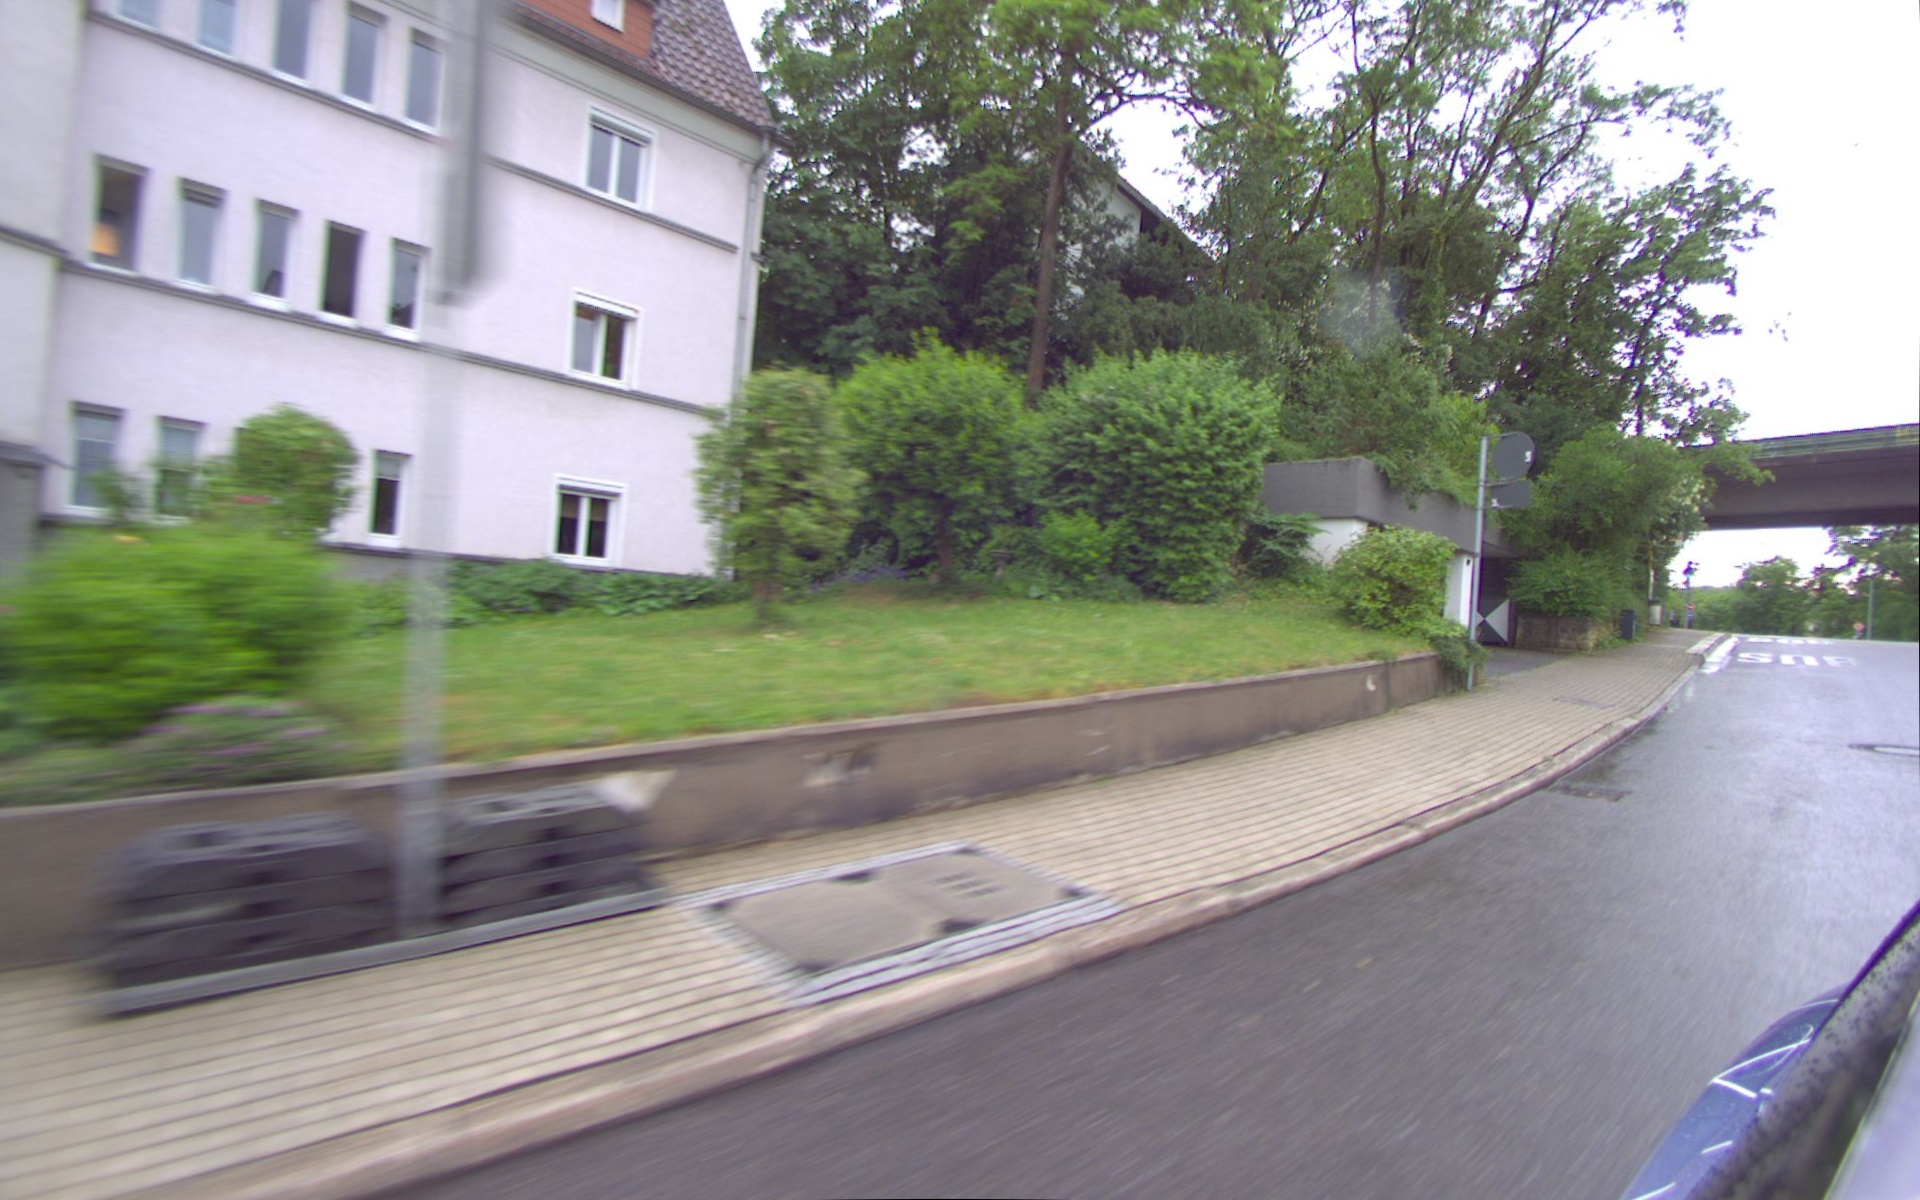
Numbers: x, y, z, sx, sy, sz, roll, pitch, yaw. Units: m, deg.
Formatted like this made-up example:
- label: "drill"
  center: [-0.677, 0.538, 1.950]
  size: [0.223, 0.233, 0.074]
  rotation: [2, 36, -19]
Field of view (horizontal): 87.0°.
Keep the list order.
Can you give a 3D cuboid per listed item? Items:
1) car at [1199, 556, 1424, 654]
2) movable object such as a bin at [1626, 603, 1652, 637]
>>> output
- label: "car"
  center: [6.784, 0.071, 19.770]
  size: [3.781, 1.697, 1.644]
  rotation: [2, -2, 45]
- label: "movable object such as a bin"
  center: [16.493, 0.469, 24.584]
  size: [0.505, 0.798, 0.496]
  rotation: [0, 1, 37]
